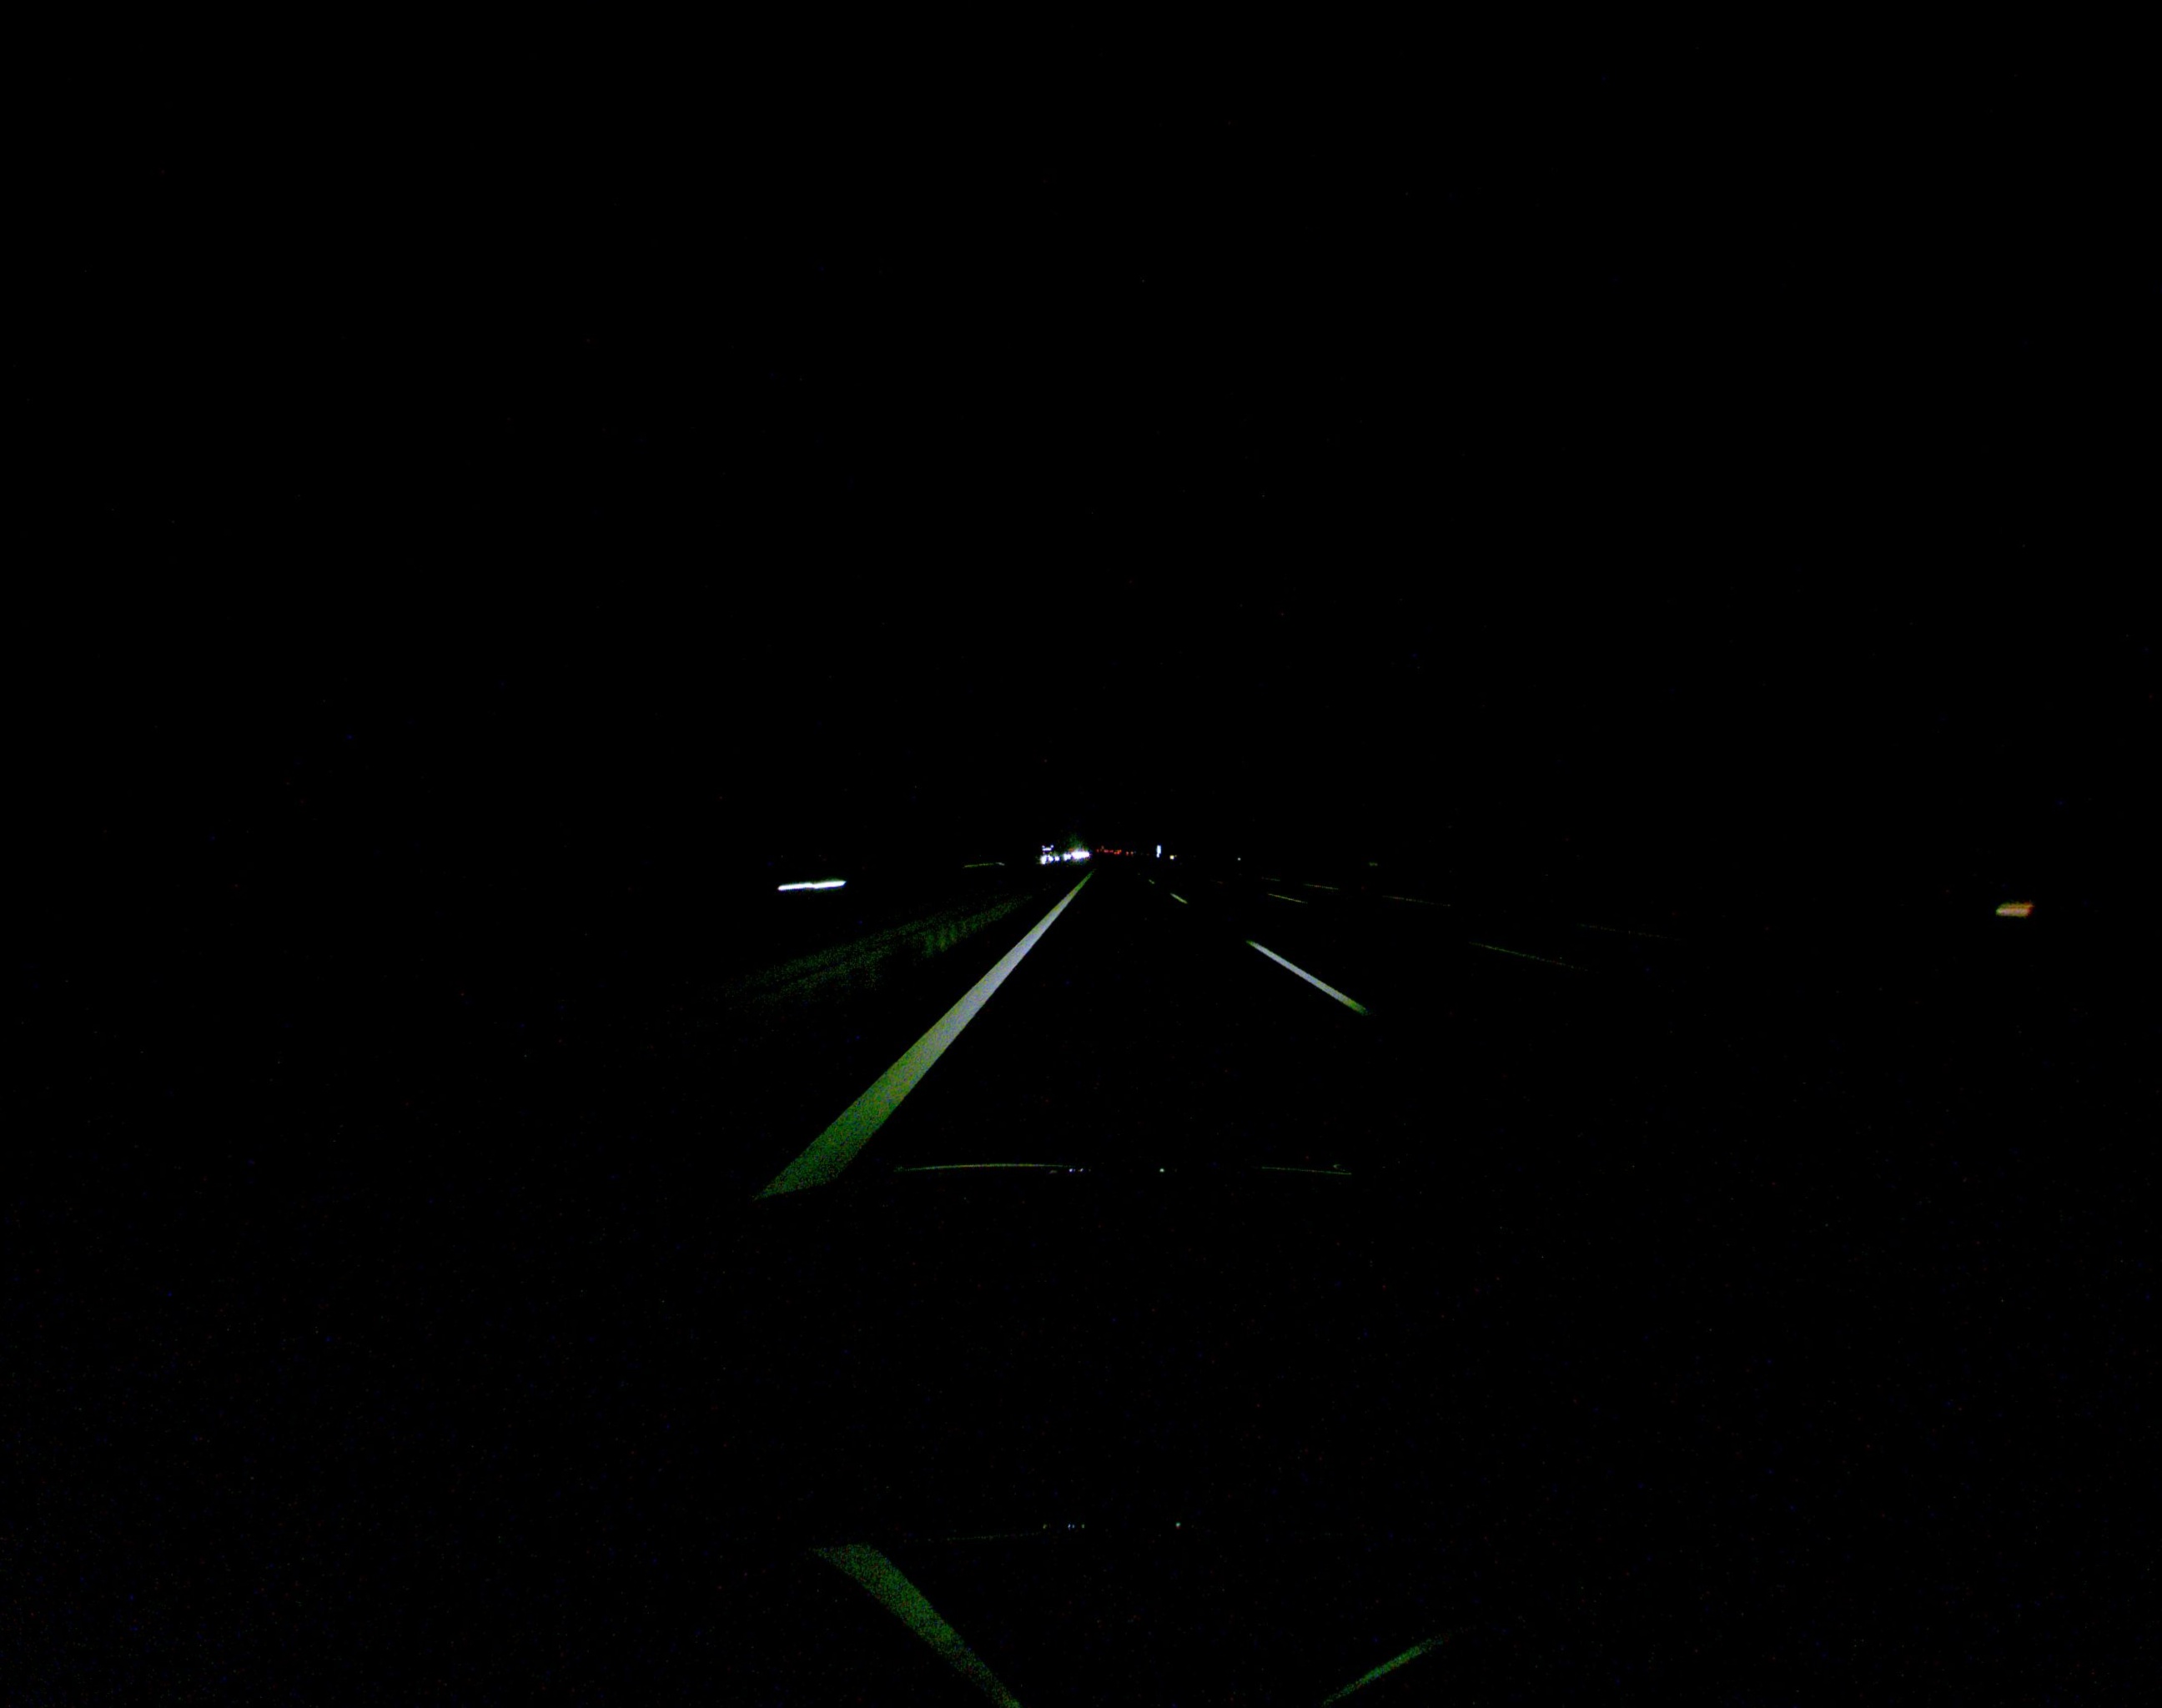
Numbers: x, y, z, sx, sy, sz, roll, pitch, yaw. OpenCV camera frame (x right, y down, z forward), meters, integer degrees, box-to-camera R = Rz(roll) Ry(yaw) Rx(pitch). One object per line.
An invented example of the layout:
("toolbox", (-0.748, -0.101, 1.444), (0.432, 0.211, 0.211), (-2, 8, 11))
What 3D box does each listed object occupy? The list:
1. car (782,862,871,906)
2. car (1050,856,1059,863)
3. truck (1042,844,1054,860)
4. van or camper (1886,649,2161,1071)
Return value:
("car", (-10.711, 1.202, 34.668), (1.986, 1.551, 5.006), (-5, 0, 1))
("car", (-6.174, 1.204, 190.364), (1.988, 1.461, 4.690), (-3, 0, -1))
("truck", (-8.686, -0.542, 215.531), (2.744, 4.212, 5.827), (-3, 0, 1))
("van or camper", (8.144, 0.043, 3.825), (2.198, 2.771, 6.808), (0, 0, 2))
